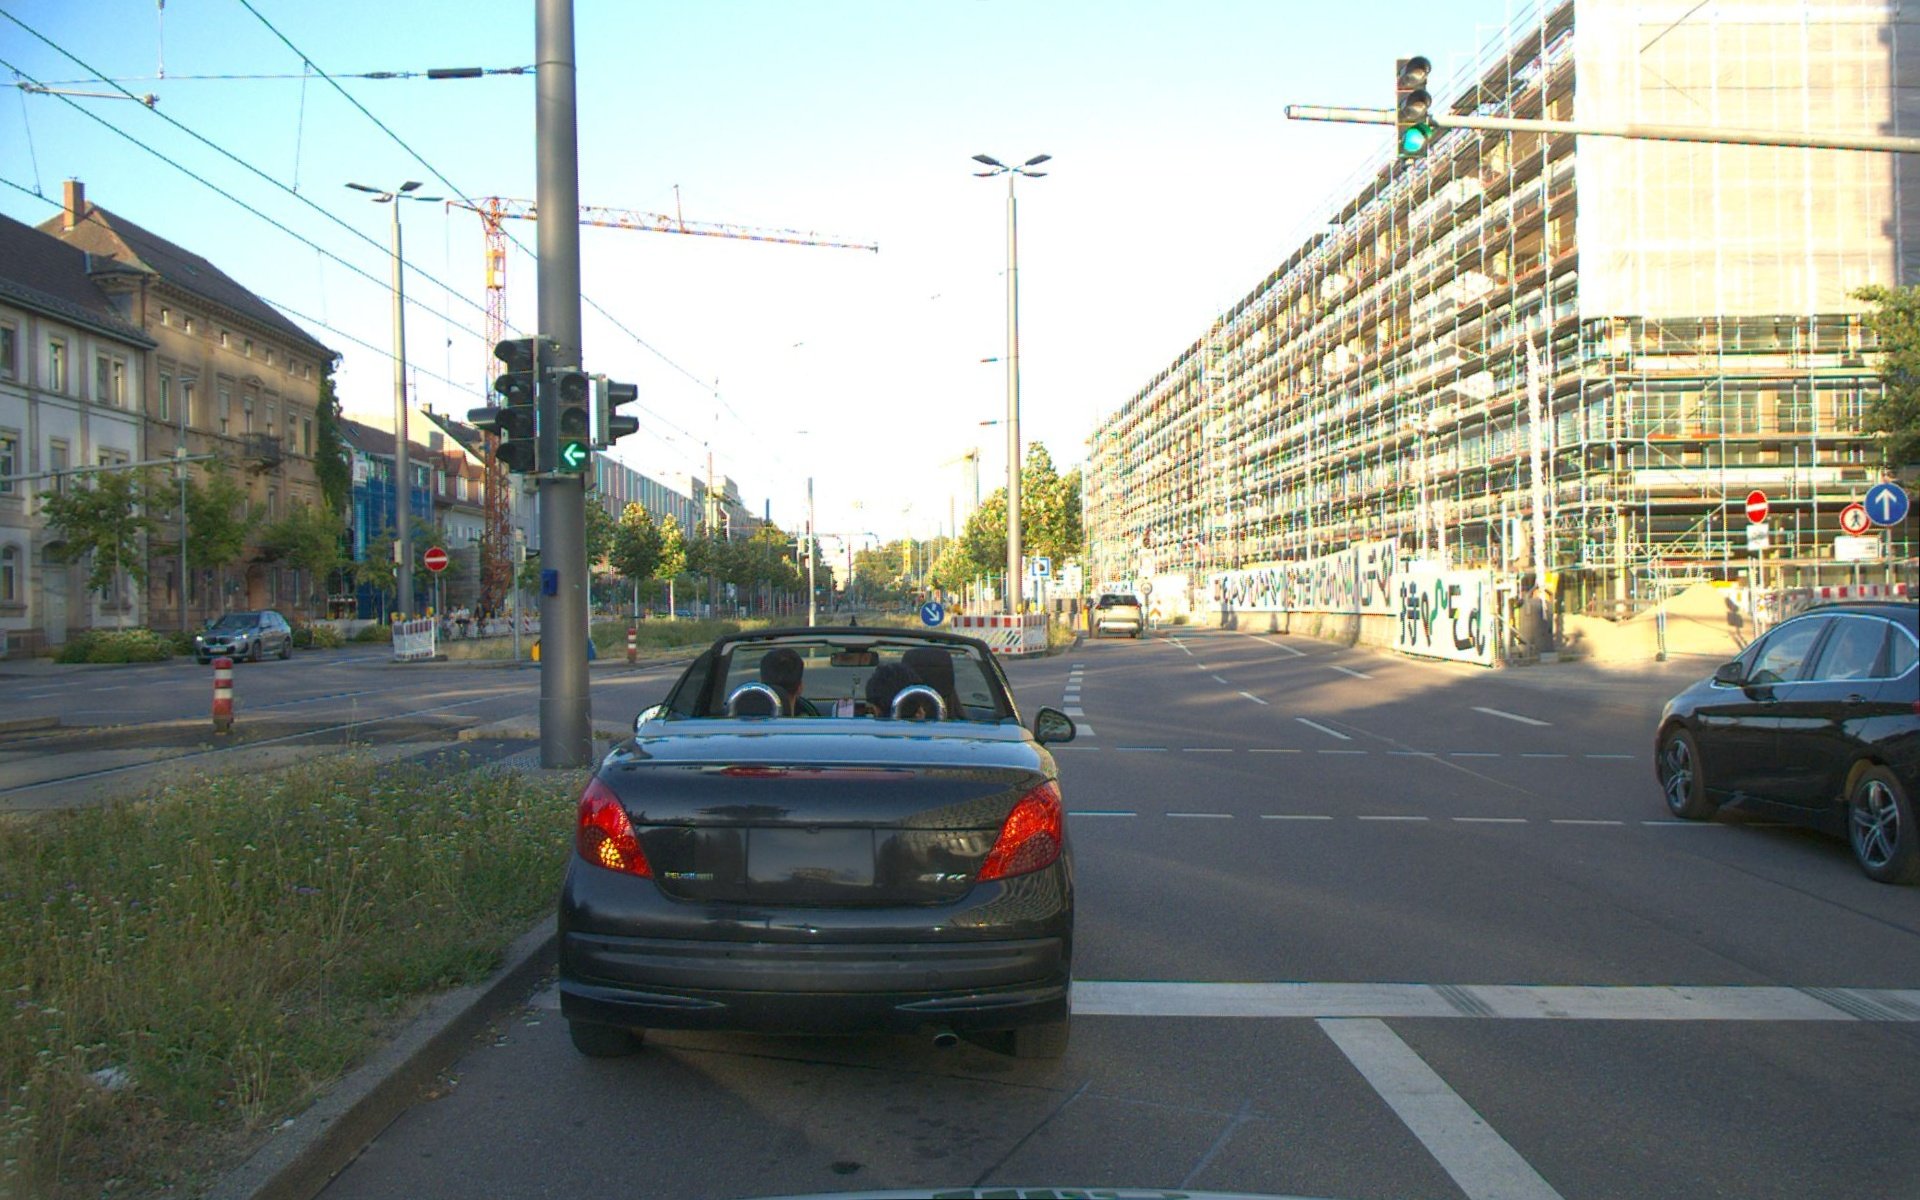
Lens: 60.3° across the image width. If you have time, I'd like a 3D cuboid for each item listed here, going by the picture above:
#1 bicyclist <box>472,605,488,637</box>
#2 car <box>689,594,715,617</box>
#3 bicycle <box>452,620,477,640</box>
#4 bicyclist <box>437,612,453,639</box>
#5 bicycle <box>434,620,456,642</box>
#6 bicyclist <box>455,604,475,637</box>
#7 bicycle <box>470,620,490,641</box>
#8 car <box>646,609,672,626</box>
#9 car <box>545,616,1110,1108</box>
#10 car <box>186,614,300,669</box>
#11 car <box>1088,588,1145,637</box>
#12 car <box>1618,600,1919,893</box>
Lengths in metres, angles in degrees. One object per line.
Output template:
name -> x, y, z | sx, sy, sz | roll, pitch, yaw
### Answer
bicyclist -> -23.837, 1.035, 82.197 | 0.578, 1.597, 0.710 | 1, 0, -1
car -> -23.358, 0.486, 149.854 | 1.624, 1.998, 4.266 | 1, 0, -1
bicycle -> -24.766, 1.500, 82.679 | 0.756, 0.961, 1.639 | 1, 0, -1
bicyclist -> -24.811, 1.238, 79.706 | 0.578, 1.289, 0.460 | 1, 0, -1
bicycle -> -24.818, 1.491, 79.712 | 0.578, 1.006, 1.556 | 1, 0, -1
bicyclist -> -24.755, 1.015, 82.683 | 0.756, 1.598, 0.792 | 1, 0, -1
bicycle -> -23.847, 1.502, 82.195 | 0.578, 0.992, 1.556 | 1, 0, -1
car -> -27.263, 1.546, 149.866 | 1.624, 1.456, 3.894 | 1, 0, 0
car -> -0.405, 0.786, 6.828 | 1.640, 1.376, 3.999 | 0, 0, -1
car -> -23.302, 1.321, 53.920 | 1.953, 1.607, 4.123 | -2, 0, -1
car -> 5.670, 0.434, 60.385 | 1.796, 1.702, 4.283 | 0, 0, 1
car -> 6.049, 0.786, 10.729 | 1.783, 1.545, 4.792 | 0, 0, 2
